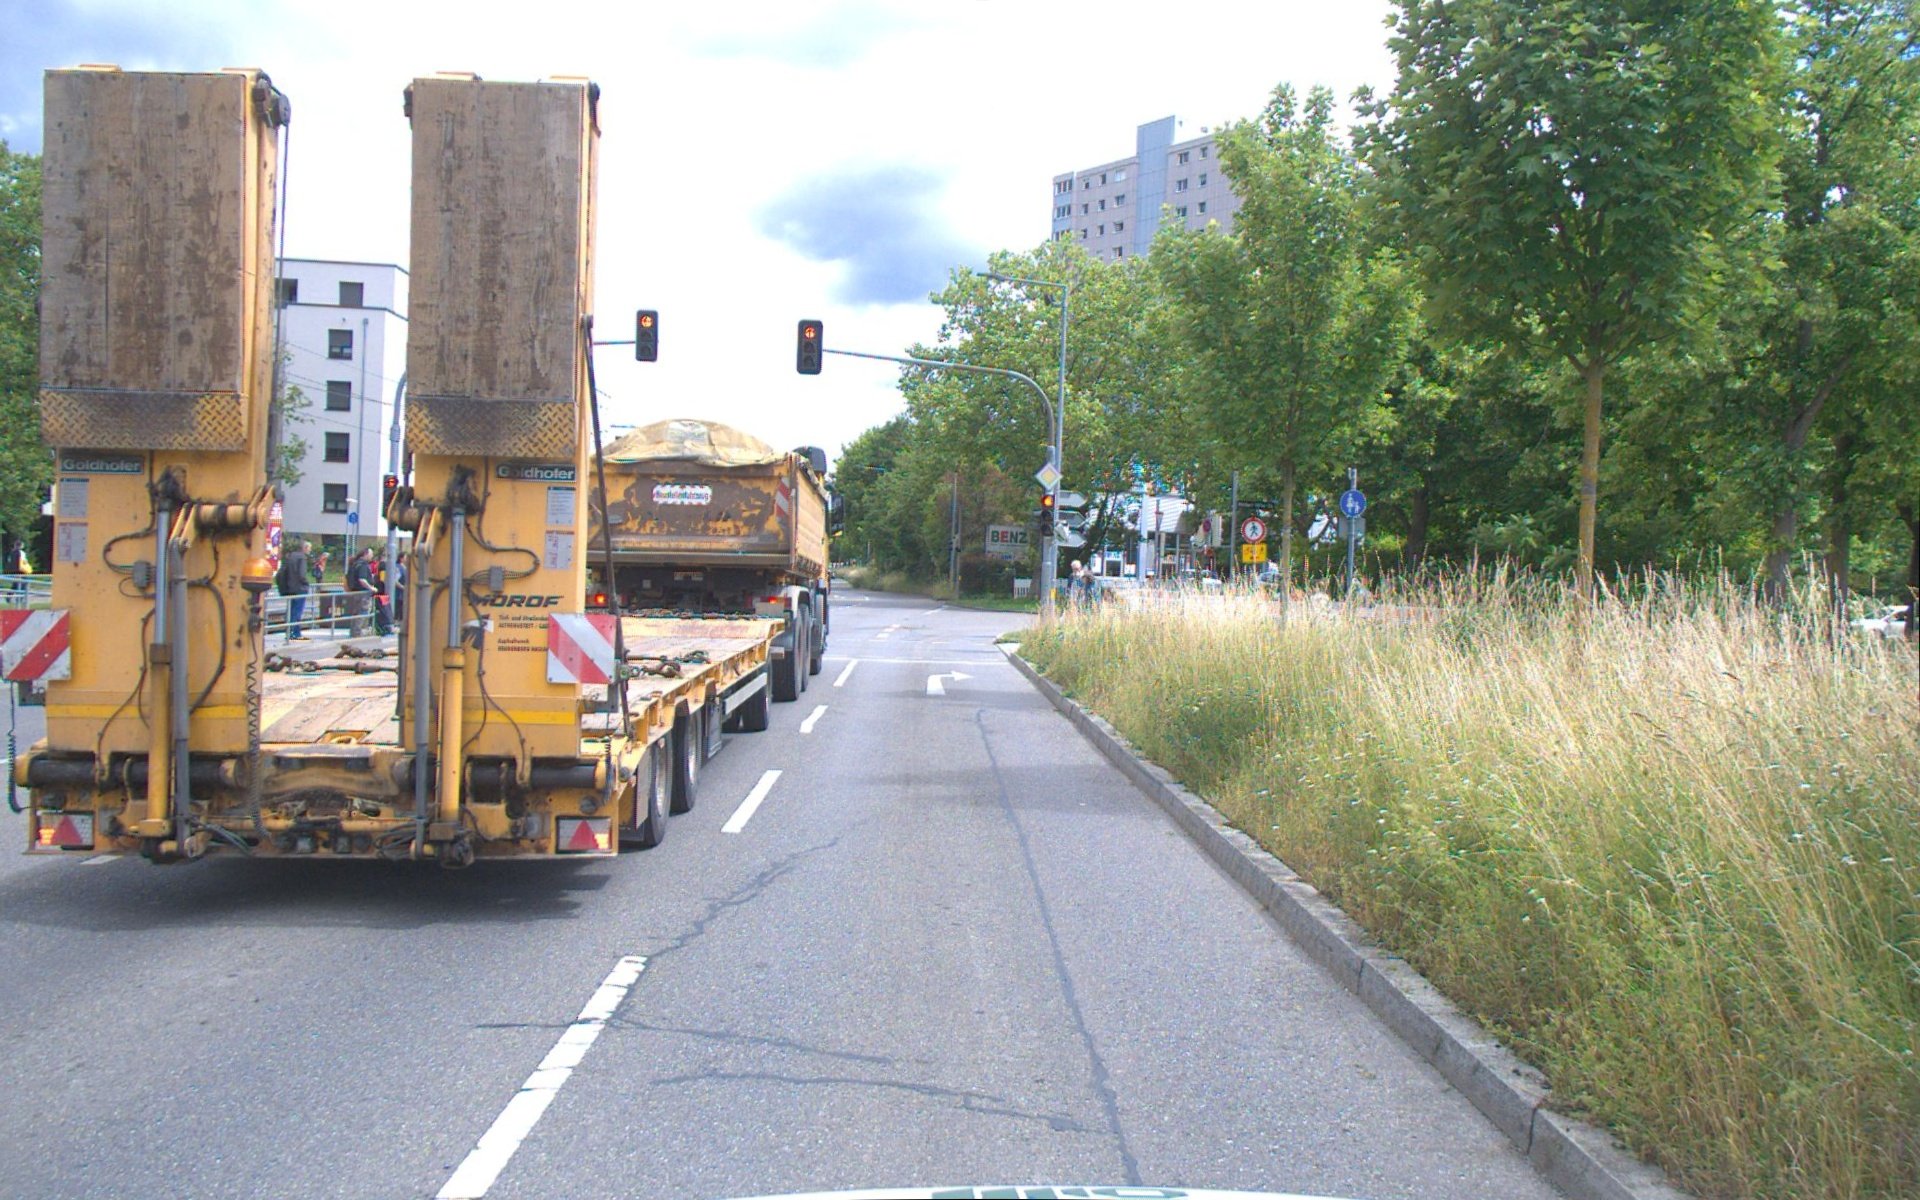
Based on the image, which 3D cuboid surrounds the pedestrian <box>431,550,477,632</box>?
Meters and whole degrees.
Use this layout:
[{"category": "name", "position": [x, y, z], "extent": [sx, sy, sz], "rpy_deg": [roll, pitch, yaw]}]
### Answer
[{"category": "pedestrian", "position": [-10.818, -0.202, 35.401], "extent": [0.818, 1.699, 0.936], "rpy_deg": [2, 1, -13]}]

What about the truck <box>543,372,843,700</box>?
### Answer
[{"category": "truck", "position": [-3.120, -0.736, 21.717], "extent": [2.698, 3.371, 8.349], "rpy_deg": [2, 1, -2]}]

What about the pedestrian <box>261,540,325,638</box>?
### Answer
[{"category": "pedestrian", "position": [-11.869, -0.193, 29.436], "extent": [0.803, 1.697, 0.683], "rpy_deg": [2, 1, -1]}]

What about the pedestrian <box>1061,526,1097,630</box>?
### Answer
[{"category": "pedestrian", "position": [2.380, -0.445, 33.119], "extent": [0.551, 2.049, 0.490], "rpy_deg": [2, 0, -11]}]

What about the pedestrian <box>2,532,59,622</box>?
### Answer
[{"category": "pedestrian", "position": [-23.843, -0.593, 42.428], "extent": [0.896, 2.243, 0.882], "rpy_deg": [2, 0, -2]}]

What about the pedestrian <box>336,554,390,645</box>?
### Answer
[{"category": "pedestrian", "position": [-11.030, -0.020, 30.561], "extent": [0.668, 1.630, 0.823], "rpy_deg": [2, 1, -2]}]

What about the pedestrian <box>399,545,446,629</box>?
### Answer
[{"category": "pedestrian", "position": [-11.133, -0.266, 34.264], "extent": [0.668, 1.699, 0.823], "rpy_deg": [2, 1, -2]}]

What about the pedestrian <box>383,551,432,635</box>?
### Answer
[{"category": "pedestrian", "position": [-11.060, -0.149, 33.135], "extent": [0.668, 1.630, 0.823], "rpy_deg": [2, 1, -2]}]

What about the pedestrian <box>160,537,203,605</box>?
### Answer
[{"category": "pedestrian", "position": [-25.603, -0.959, 54.410], "extent": [0.896, 2.171, 0.935], "rpy_deg": [2, 1, -2]}]

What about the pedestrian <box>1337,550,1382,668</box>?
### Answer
[{"category": "pedestrian", "position": [7.029, 0.156, 29.098], "extent": [0.551, 2.049, 0.490], "rpy_deg": [2, 0, -11]}]

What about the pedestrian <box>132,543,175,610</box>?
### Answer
[{"category": "pedestrian", "position": [-26.560, -0.771, 54.499], "extent": [0.896, 2.171, 0.935], "rpy_deg": [2, 1, -2]}]

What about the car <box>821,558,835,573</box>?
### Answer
[{"category": "car", "position": [-18.263, -4.789, 228.782], "extent": [1.657, 1.959, 3.995], "rpy_deg": [2, 1, -6]}]

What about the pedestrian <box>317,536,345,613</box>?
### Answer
[{"category": "pedestrian", "position": [-23.458, -0.948, 61.716], "extent": [0.674, 2.822, 0.741], "rpy_deg": [2, 0, -2]}]

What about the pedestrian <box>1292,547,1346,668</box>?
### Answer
[{"category": "pedestrian", "position": [6.198, 0.133, 28.599], "extent": [0.659, 2.049, 0.633], "rpy_deg": [2, 0, -11]}]

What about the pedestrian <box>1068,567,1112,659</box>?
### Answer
[{"category": "pedestrian", "position": [2.425, 0.242, 30.839], "extent": [0.614, 1.682, 0.562], "rpy_deg": [2, 0, 25]}]

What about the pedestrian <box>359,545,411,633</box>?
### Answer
[{"category": "pedestrian", "position": [-11.034, -0.212, 31.750], "extent": [0.668, 1.630, 0.823], "rpy_deg": [2, 1, -2]}]

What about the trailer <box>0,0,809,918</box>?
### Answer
[{"category": "trailer", "position": [-2.866, -0.728, 11.914], "extent": [2.674, 3.620, 11.251], "rpy_deg": [2, 1, -1]}]
